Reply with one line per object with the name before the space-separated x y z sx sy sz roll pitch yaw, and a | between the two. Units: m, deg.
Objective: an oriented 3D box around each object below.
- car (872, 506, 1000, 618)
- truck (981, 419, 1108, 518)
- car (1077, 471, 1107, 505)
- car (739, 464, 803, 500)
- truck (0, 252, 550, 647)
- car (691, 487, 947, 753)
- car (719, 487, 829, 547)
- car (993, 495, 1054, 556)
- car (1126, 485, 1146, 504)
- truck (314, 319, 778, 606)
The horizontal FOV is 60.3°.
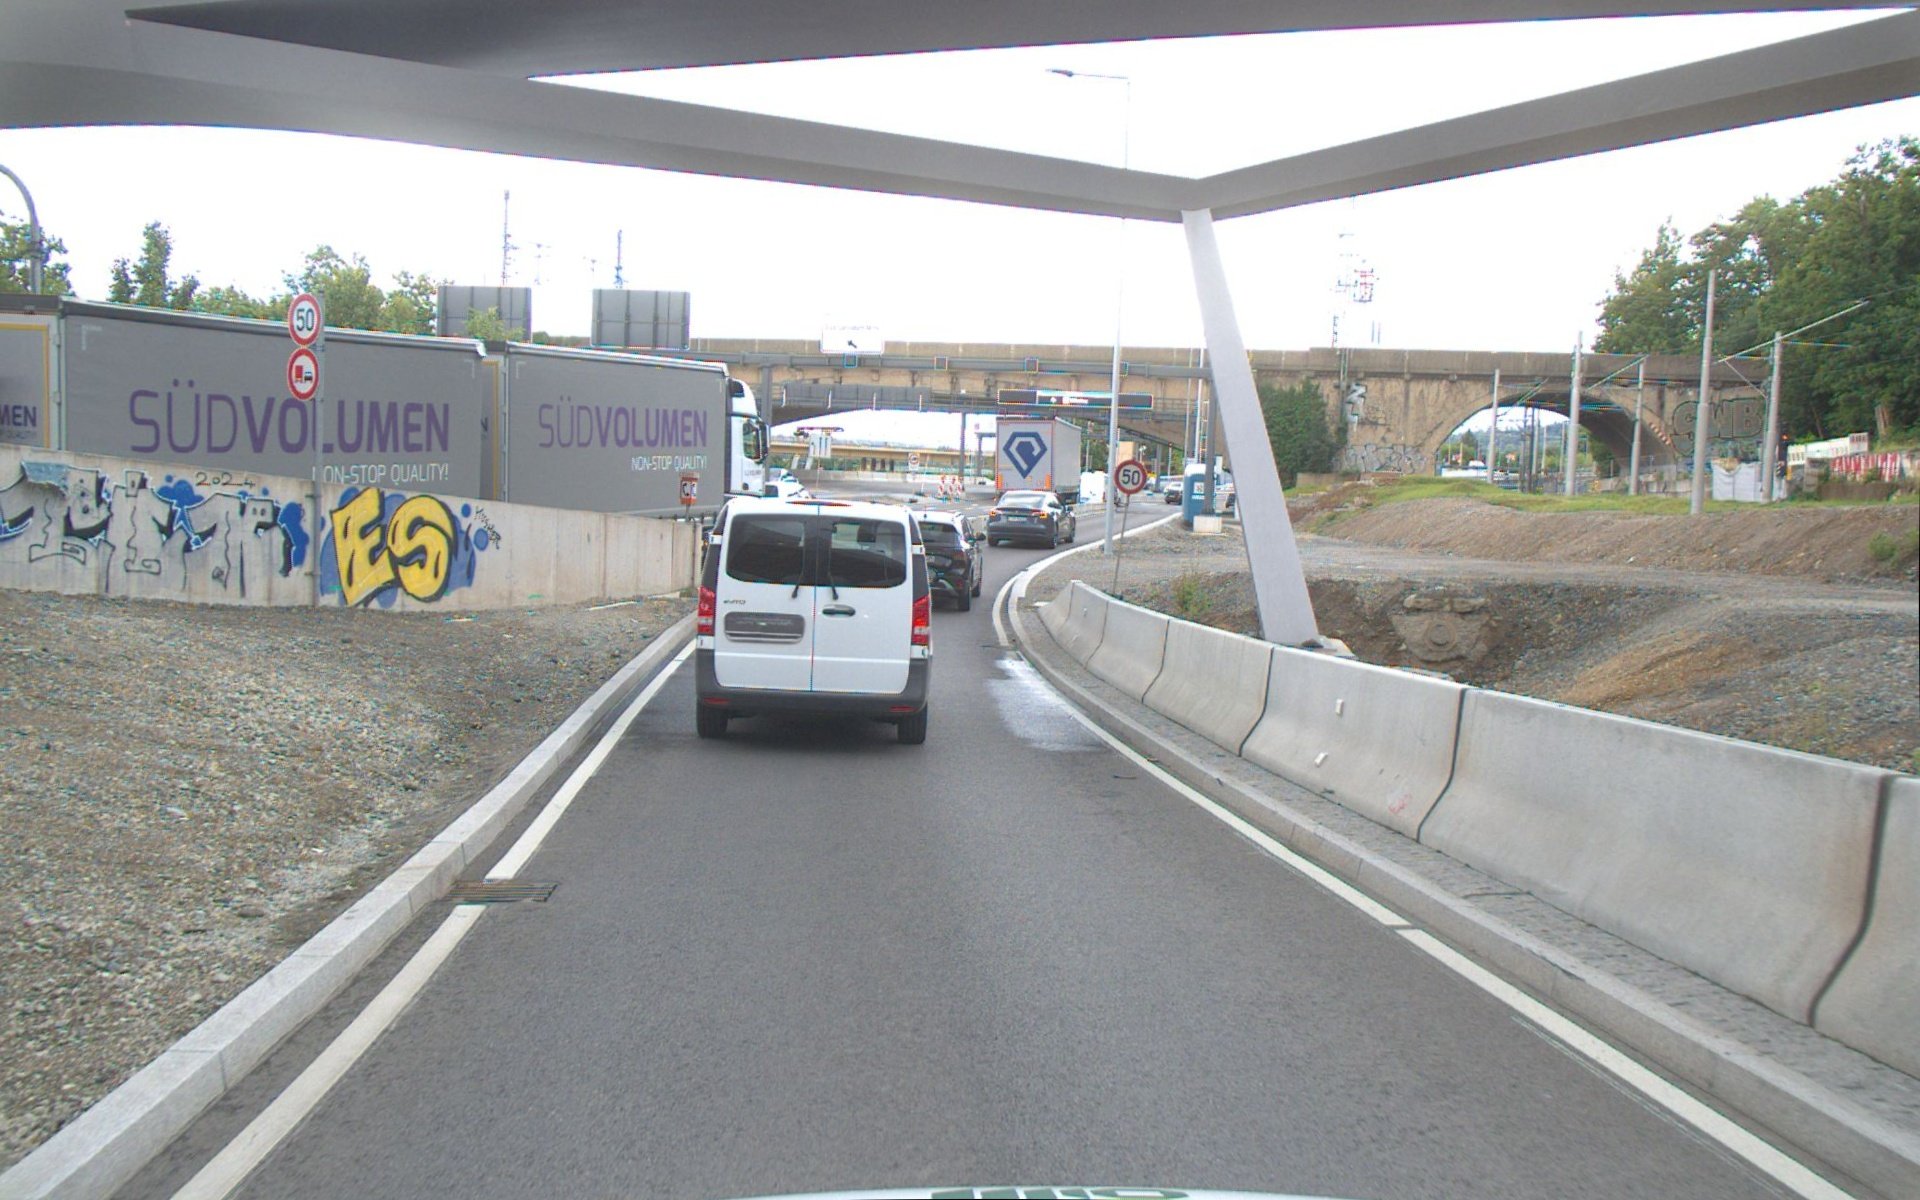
car | -0.355 -0.732 29.122 1.713 1.652 3.849 4 5 5
truck | 4.230 -6.060 77.082 3.247 3.872 16.616 5 5 11
car | 9.329 -7.861 116.708 1.858 2.152 4.489 4 2 6
car | -9.177 -5.733 80.560 1.781 1.478 4.004 4 2 13
truck | -9.619 -1.970 22.477 2.857 4.084 10.210 4 5 17
car | -1.179 0.060 14.571 1.839 1.923 4.751 1 2 -4
car | -5.446 -2.420 49.008 1.951 1.578 4.004 4 2 13
car | 1.721 -1.966 44.208 1.469 1.494 3.401 2 2 4
car | 16.591 -9.916 155.907 1.590 1.612 4.003 4 2 3
truck | -7.032 -2.611 30.752 2.925 4.245 11.254 4 6 17
